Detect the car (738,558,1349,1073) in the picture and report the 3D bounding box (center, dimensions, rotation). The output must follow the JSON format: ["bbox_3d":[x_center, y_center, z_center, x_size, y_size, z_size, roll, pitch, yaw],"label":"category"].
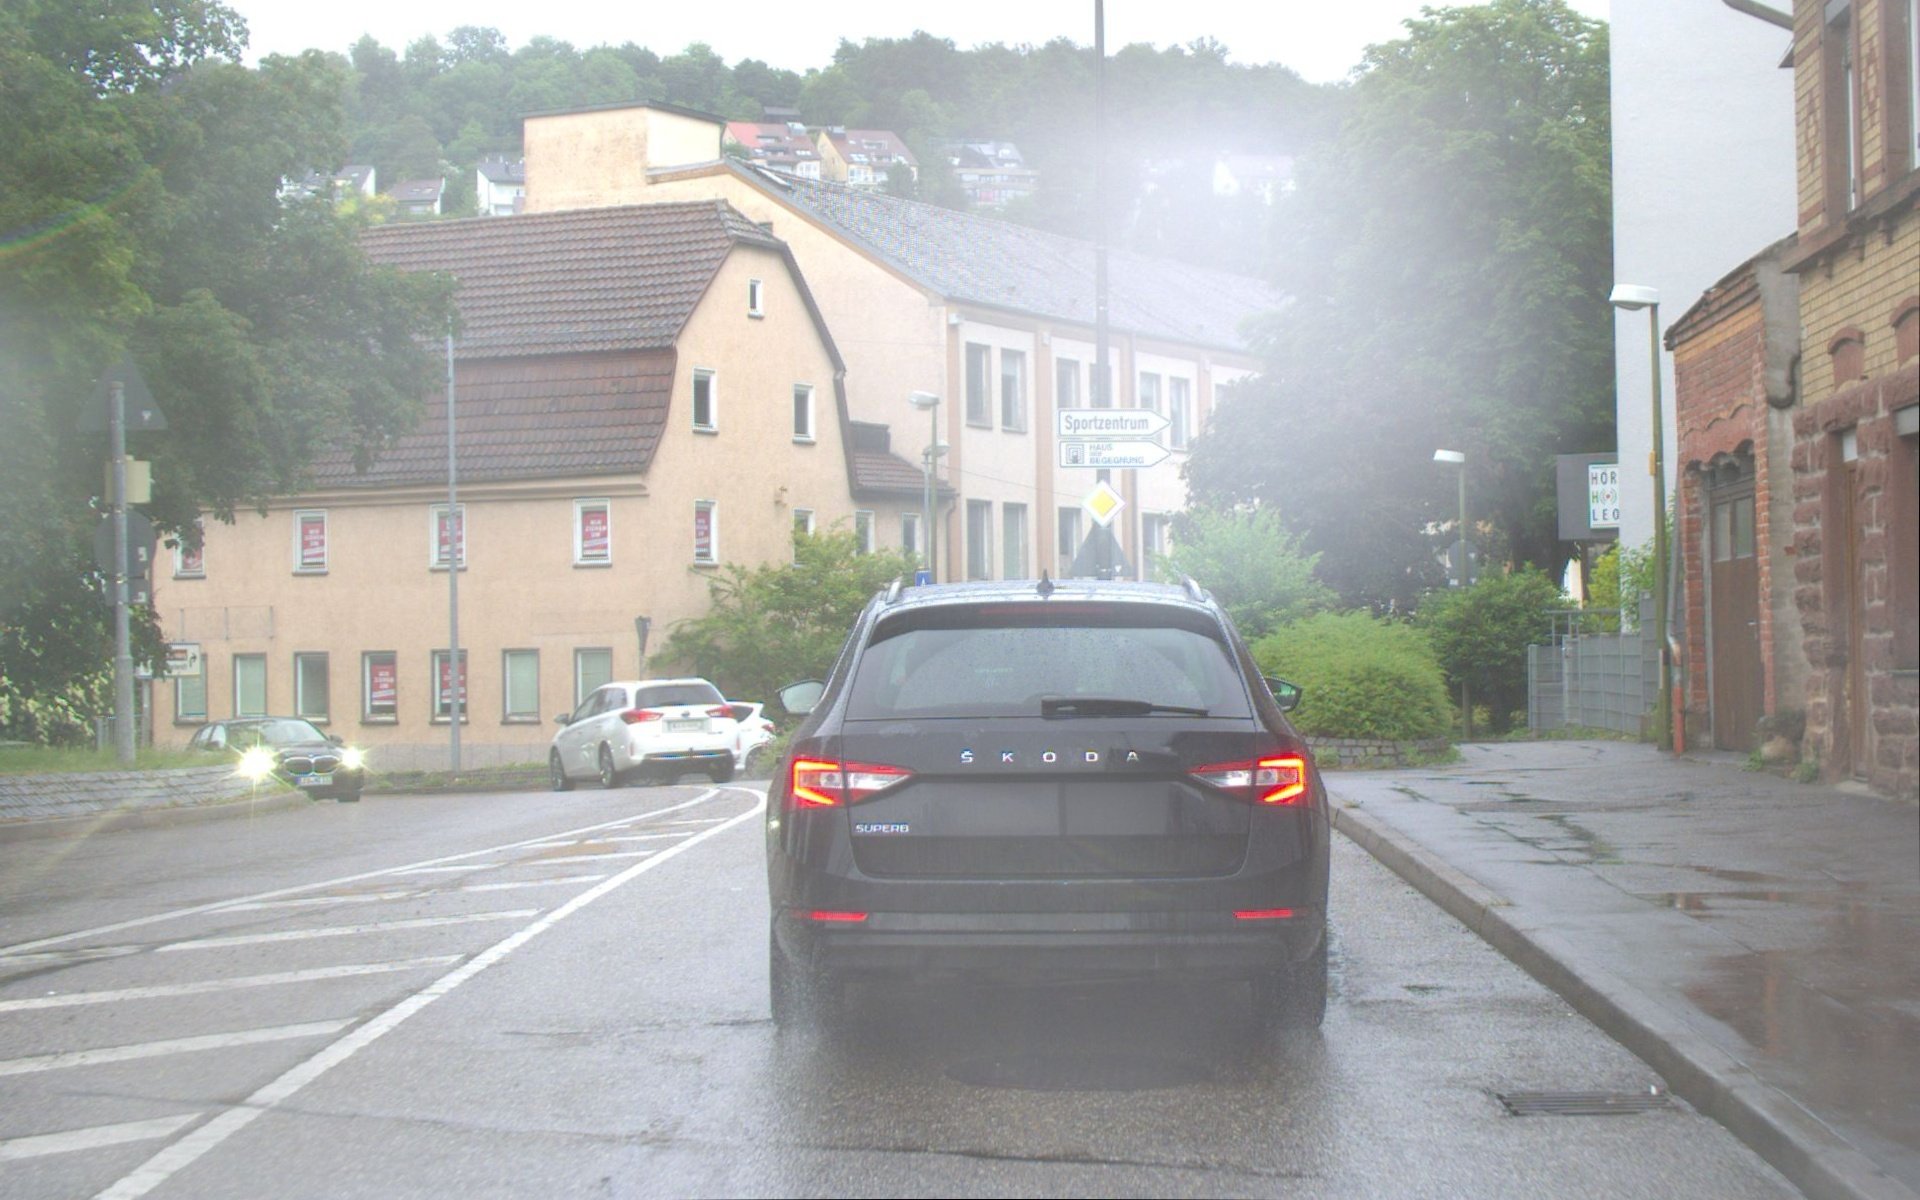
[{"bbox_3d":[0.142,0.664,12.280,1.782,1.478,4.246,-1,-1,-3],"label":"car"}]

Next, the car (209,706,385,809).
[{"bbox_3d":[-9.721,2.274,50.200,1.735,1.406,4.055,0,-2,-22],"label":"car"}]

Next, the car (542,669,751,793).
[{"bbox_3d":[-4.324,1.797,46.900,1.727,1.585,4.184,2,-3,-21],"label":"car"}]

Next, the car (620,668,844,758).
[{"bbox_3d":[-4.258,2.111,64.225,3.750,1.448,1.712,-2,-2,-25],"label":"car"}]

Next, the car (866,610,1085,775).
[{"bbox_3d":[0.150,0.819,30.774,1.818,1.355,3.989,-1,-1,1],"label":"car"}]
